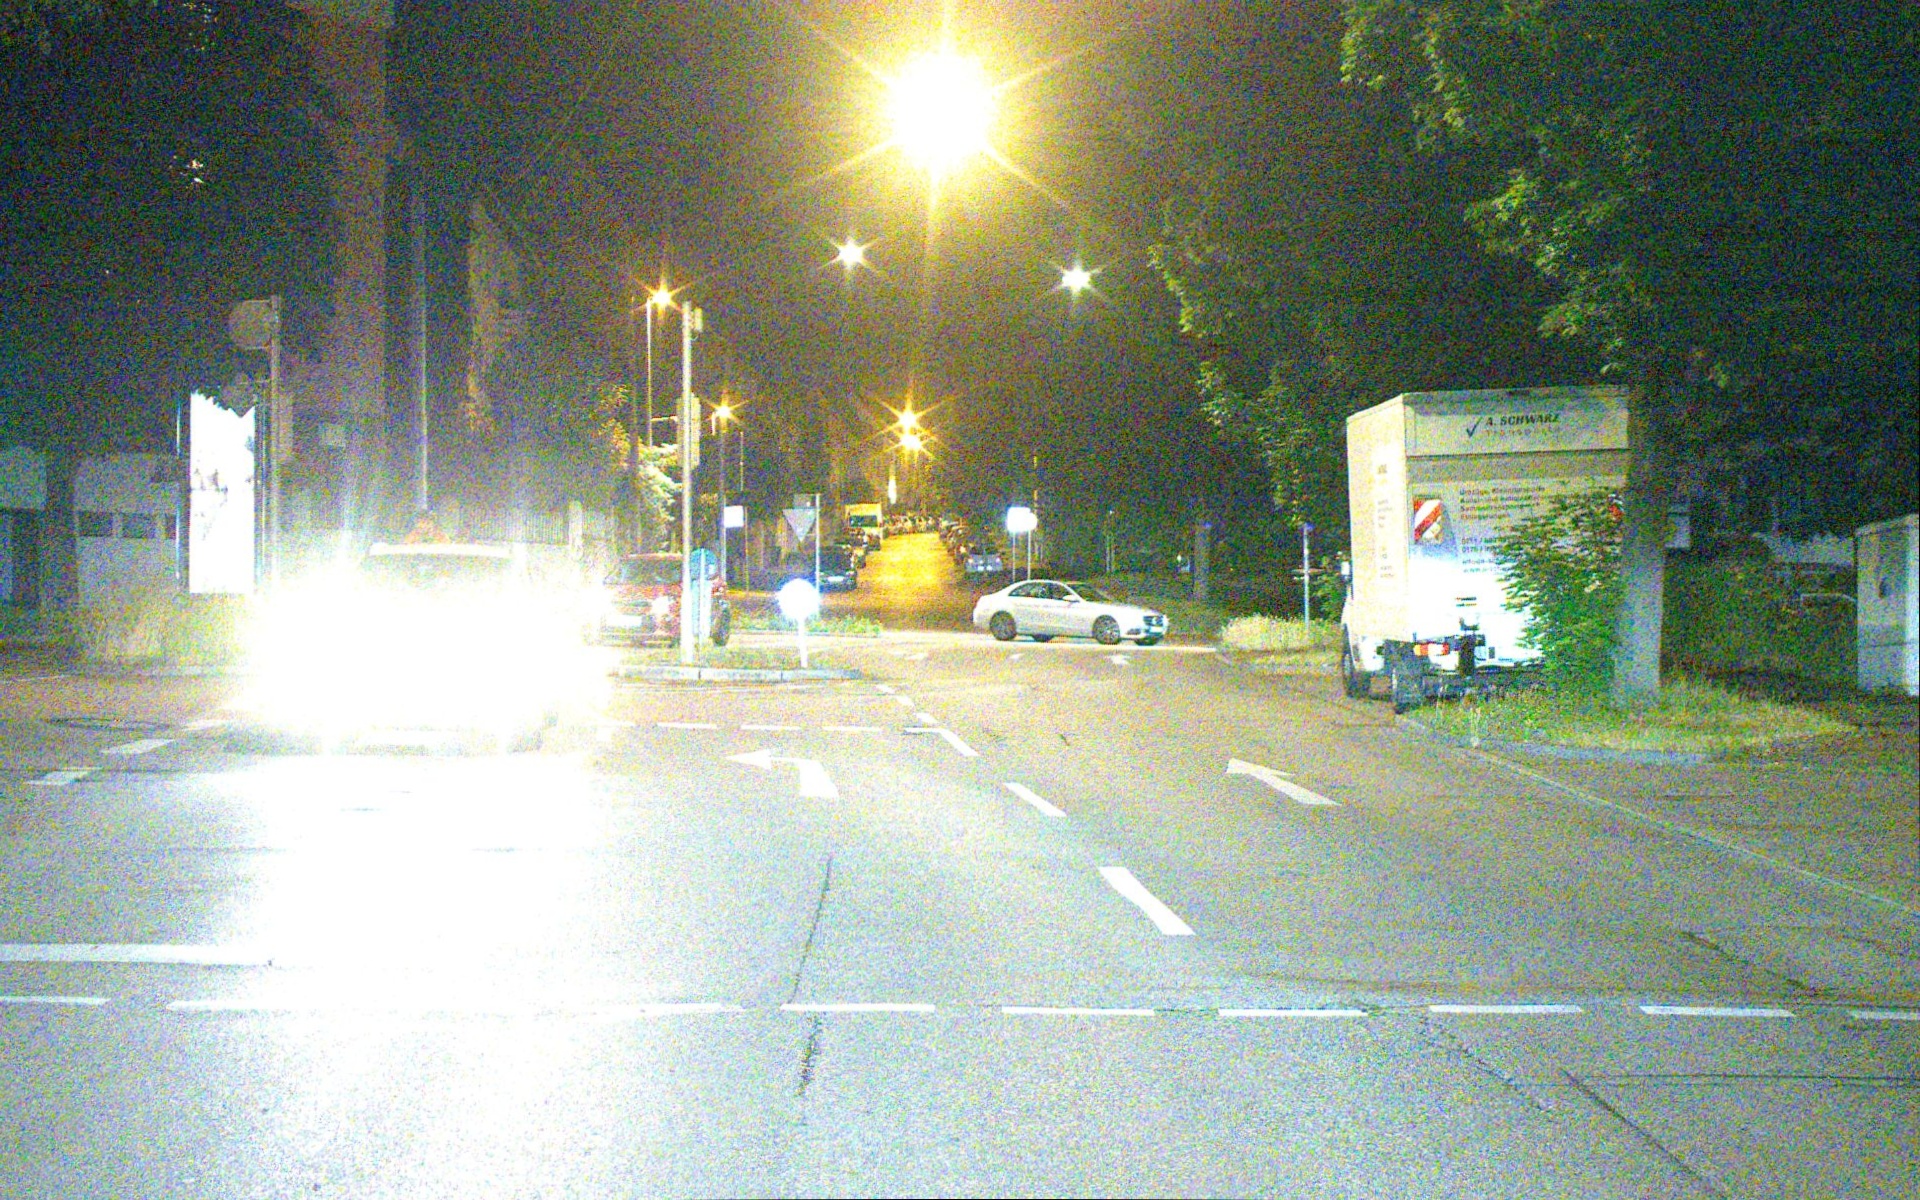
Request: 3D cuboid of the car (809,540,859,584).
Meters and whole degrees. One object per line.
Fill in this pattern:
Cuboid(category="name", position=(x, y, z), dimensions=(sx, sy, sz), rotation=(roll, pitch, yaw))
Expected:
Cuboid(category="car", position=(-4.911, -1.485, 134.453), dimensions=(1.815, 1.678, 4.000), rotation=(1, 1, -1))

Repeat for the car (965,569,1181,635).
Cuboid(category="car", position=(2.547, 0.036, 78.146), dimensions=(4.577, 1.384, 1.919), rotation=(1, 1, 35))

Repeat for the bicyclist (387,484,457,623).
Cuboid(category="bicyclist", position=(-6.435, -0.556, 41.128), dimensions=(0.690, 1.631, 0.896), rotation=(1, 0, -1))

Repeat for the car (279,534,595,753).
Cuboid(category="car", position=(-3.946, 0.279, 26.538), dimensions=(1.857, 1.529, 4.028), rotation=(1, 1, -1))

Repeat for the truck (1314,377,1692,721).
Cuboid(category="truck", position=(5.279, -0.516, 34.533), dimensions=(2.749, 3.100, 6.258), rotation=(1, 1, 0))

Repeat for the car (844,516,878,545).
Cuboid(category="car", position=(-5.392, -3.771, 186.955), dimensions=(1.815, 1.486, 4.000), rotation=(1, 1, -2))

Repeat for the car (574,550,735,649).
Cuboid(category="car", position=(-4.836, -0.032, 54.758), dimensions=(1.582, 1.496, 3.394), rotation=(1, 1, 13))

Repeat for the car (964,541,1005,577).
Cuboid(category="car", position=(1.013, -1.703, 143.368), dimensions=(1.634, 1.447, 3.485), rotation=(1, 1, -1))

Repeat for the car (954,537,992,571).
Cuboid(category="car", position=(0.573, -2.062, 153.100), dimensions=(1.634, 1.447, 3.485), rotation=(1, 1, -1))

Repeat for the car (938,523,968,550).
Cuboid(category="car", position=(-0.391, -3.515, 191.485), dimensions=(1.634, 1.447, 3.485), rotation=(1, 1, -1))

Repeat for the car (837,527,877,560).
Cuboid(category="car", position=(-4.808, -2.645, 160.573), dimensions=(1.815, 1.486, 4.000), rotation=(1, 1, -2))

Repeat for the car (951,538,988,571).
Cuboid(category="car", position=(0.435, -2.115, 159.285), dimensions=(1.634, 1.447, 3.485), rotation=(1, 1, -1))

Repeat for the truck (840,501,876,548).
Cuboid(category="truck", position=(-6.240, -4.581, 209.585), dimensions=(2.086, 2.838, 5.832), rotation=(1, 1, -2))
